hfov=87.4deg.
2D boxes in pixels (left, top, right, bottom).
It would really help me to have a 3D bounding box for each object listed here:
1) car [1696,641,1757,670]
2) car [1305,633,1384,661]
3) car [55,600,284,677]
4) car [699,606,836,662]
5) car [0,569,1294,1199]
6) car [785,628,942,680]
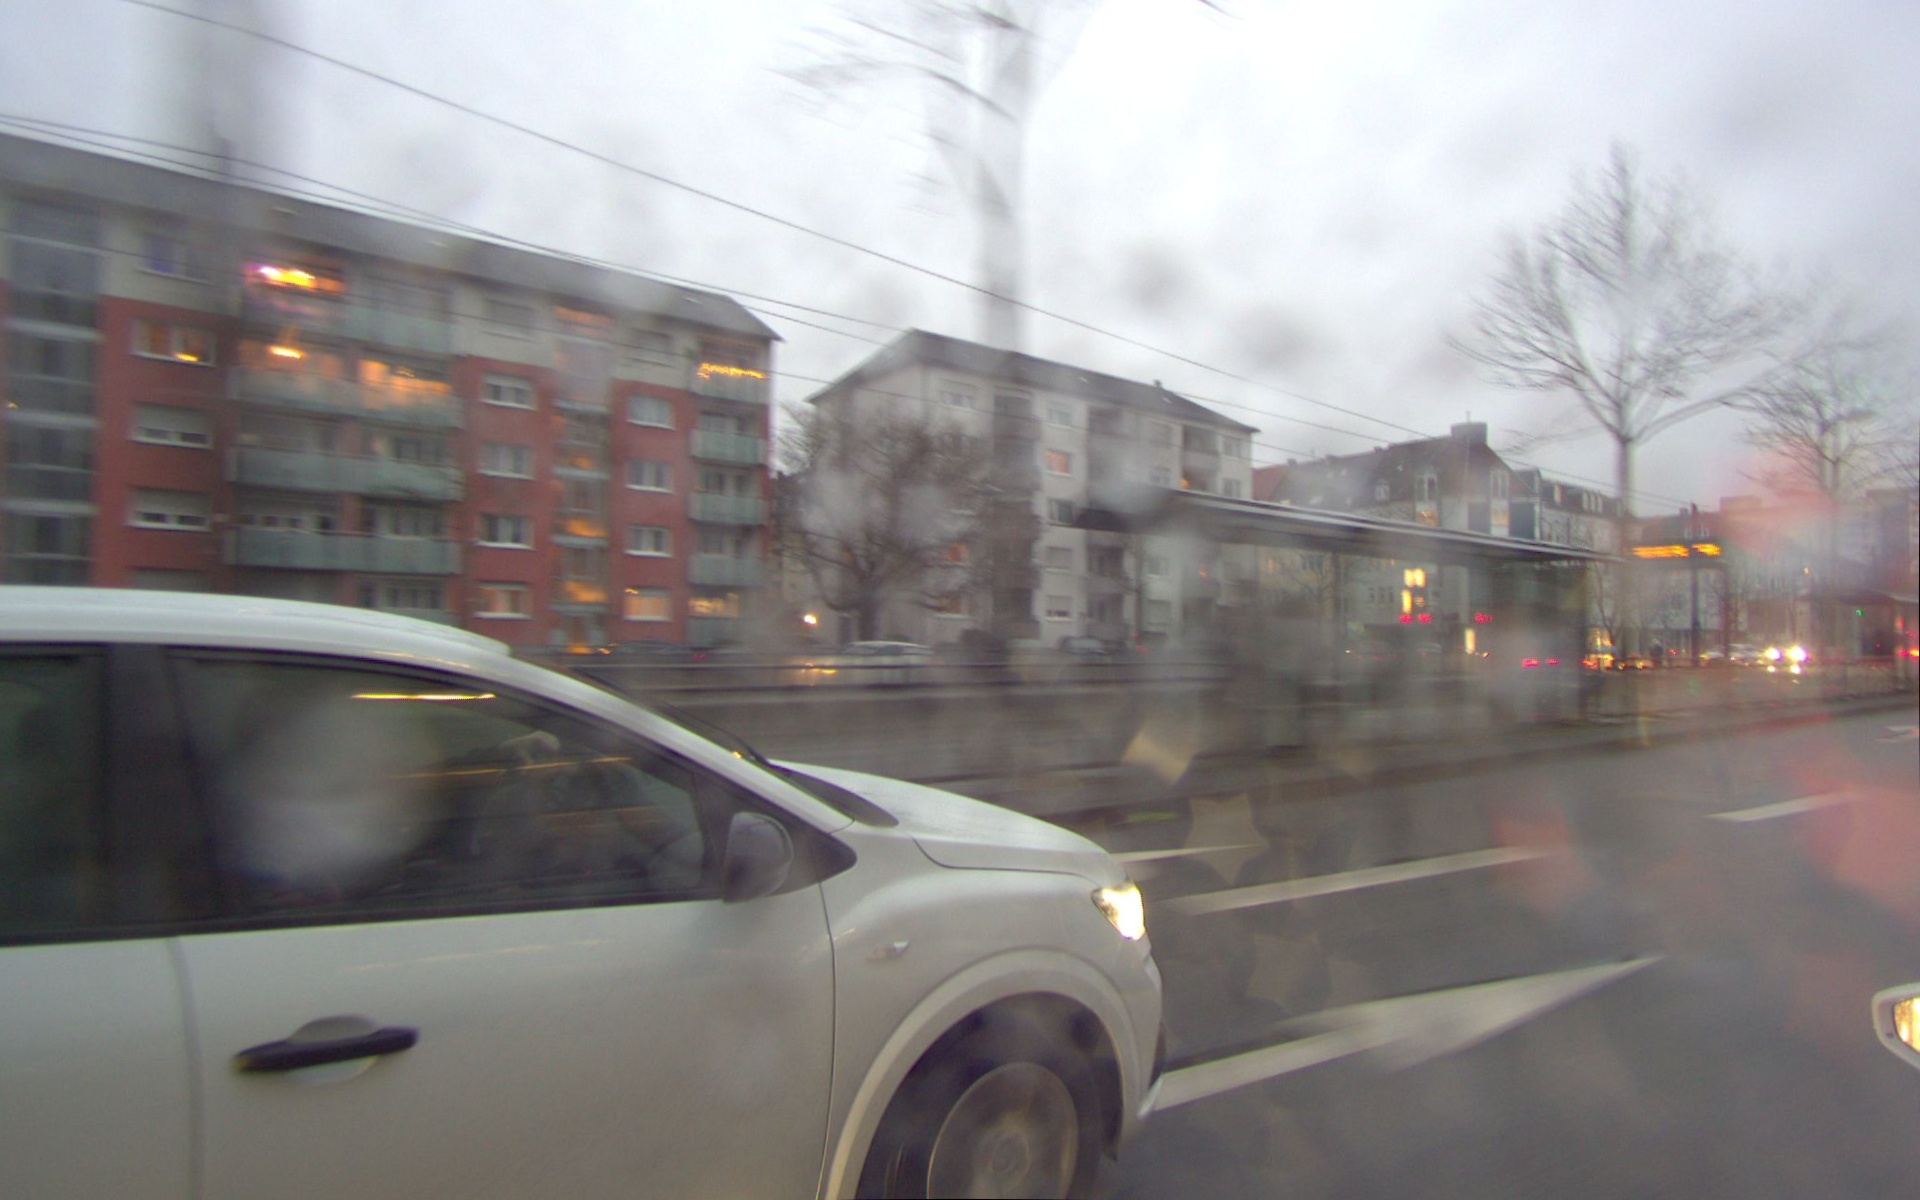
[{"bbox_3d":[45.256,3.291,59.286,3.720,1.517,1.748,4,-1,-34],"label":"car"},{"bbox_3d":[21.474,2.621,56.168,1.685,1.384,3.765,4,-2,-41],"label":"car"},{"bbox_3d":[-18.740,0.945,24.091,4.110,1.667,1.713,4,-1,-35],"label":"car"},{"bbox_3d":[-6.390,1.148,33.481,4.110,1.667,1.713,4,-1,-35],"label":"car"},{"bbox_3d":[-1.227,0.728,2.332,3.958,1.485,1.698,4,-1,-33],"label":"car"},{"bbox_3d":[-2.732,1.577,28.876,4.174,1.309,1.767,4,-2,-36],"label":"car"}]
